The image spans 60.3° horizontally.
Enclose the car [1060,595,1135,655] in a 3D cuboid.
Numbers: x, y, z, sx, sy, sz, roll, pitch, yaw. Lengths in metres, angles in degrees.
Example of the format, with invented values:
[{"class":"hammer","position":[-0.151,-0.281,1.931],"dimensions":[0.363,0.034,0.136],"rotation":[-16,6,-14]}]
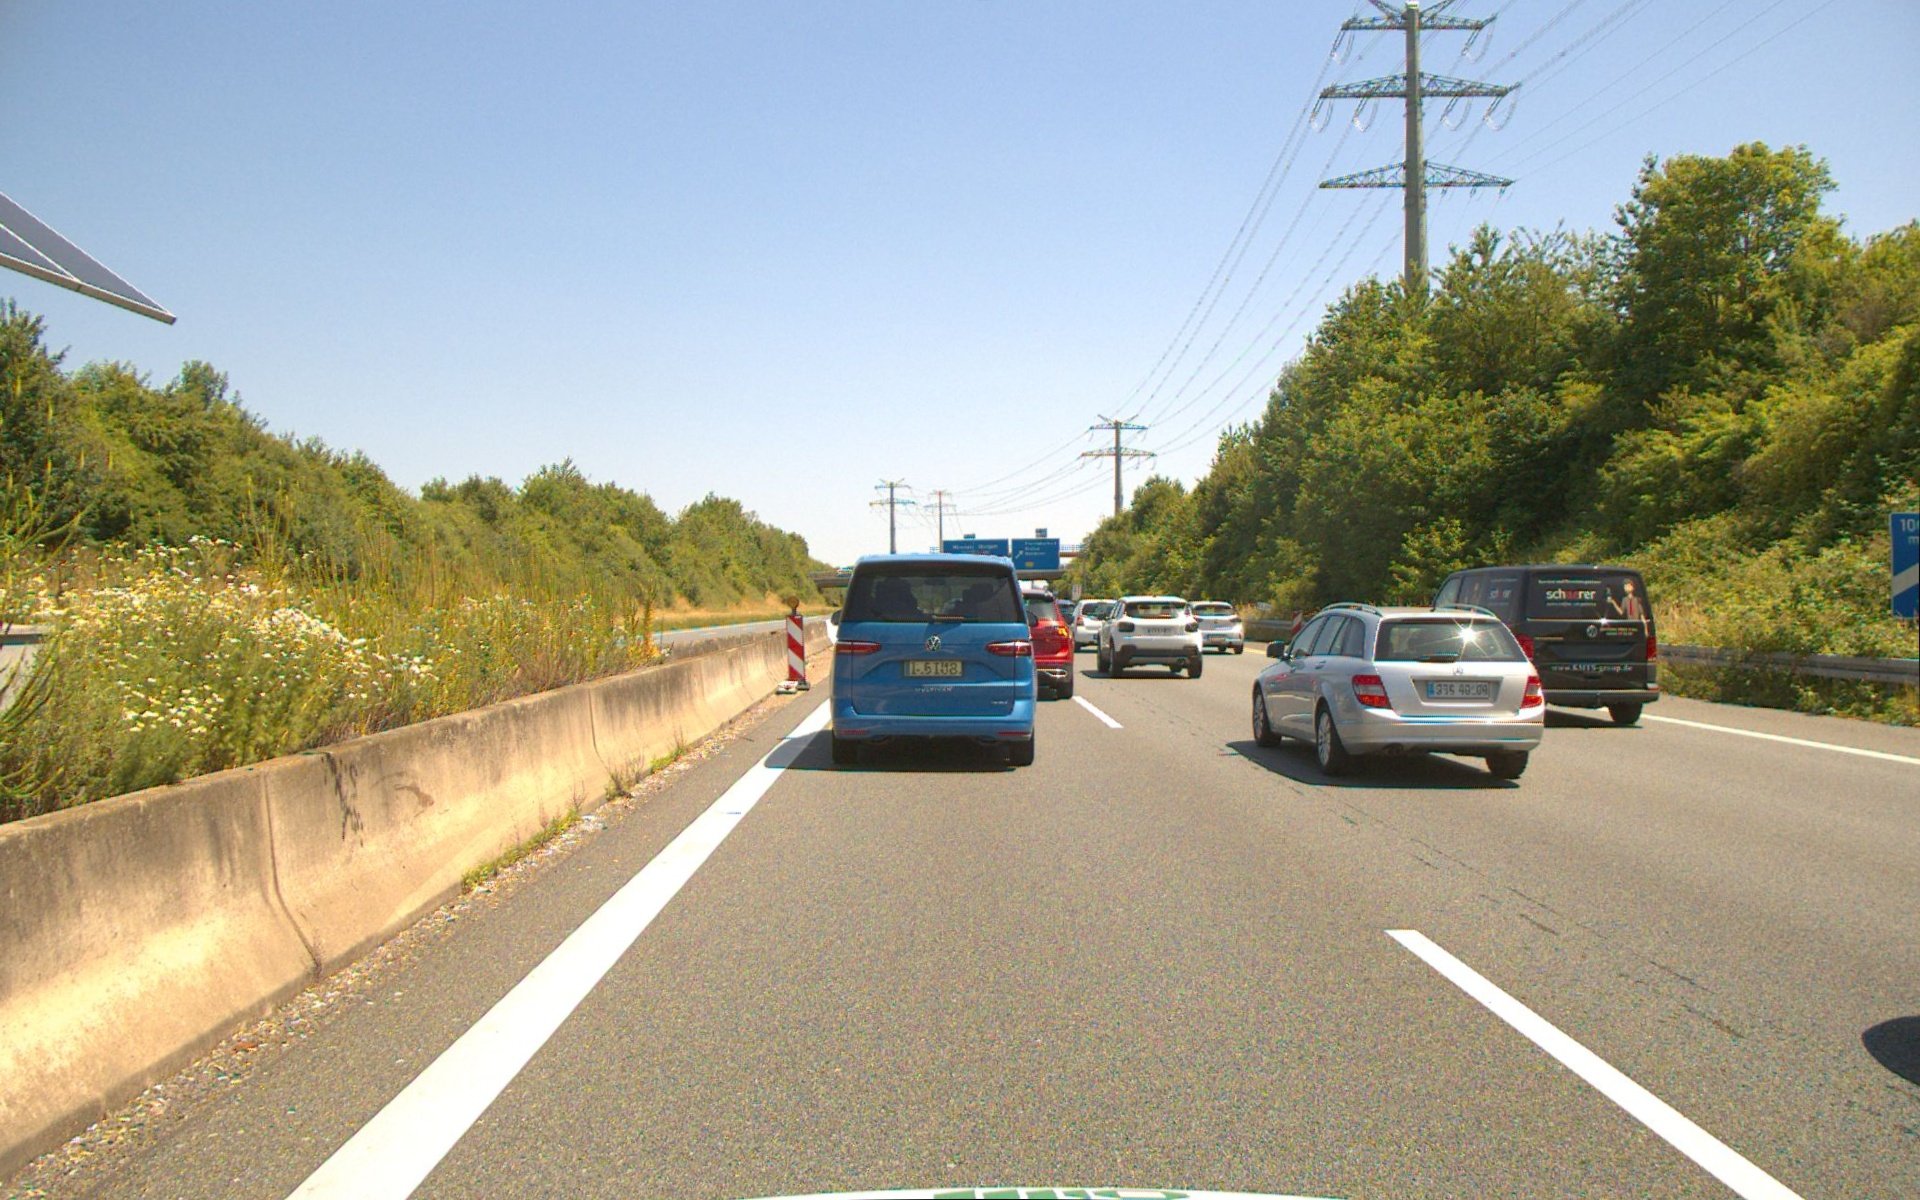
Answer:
[{"class":"car","position":[3.929,0.707,47.863],"dimensions":[1.761,1.622,4.226],"rotation":[1,0,-1]}]

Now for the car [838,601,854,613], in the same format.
[{"class":"car","position":[-16.415,0.982,238.455],"dimensions":[1.953,1.678,4.629],"rotation":[-3,0,-1]}]

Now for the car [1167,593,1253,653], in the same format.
[{"class":"car","position":[7.130,0.630,47.465],"dimensions":[1.761,1.622,4.226],"rotation":[1,0,-1]}]

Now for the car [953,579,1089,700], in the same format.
[{"class":"car","position":[0.871,0.576,26.007],"dimensions":[1.836,1.700,4.358],"rotation":[1,0,-2]}]

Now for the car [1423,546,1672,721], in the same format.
[{"class":"car","position":[7.579,0.409,21.774],"dimensions":[1.761,2.049,4.226],"rotation":[1,0,0]}]

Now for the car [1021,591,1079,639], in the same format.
[{"class":"car","position":[3.188,0.507,58.996],"dimensions":[1.761,1.622,4.226],"rotation":[1,0,-1]}]

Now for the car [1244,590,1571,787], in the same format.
[{"class":"car","position":[3.945,0.711,15.362],"dimensions":[1.735,1.544,4.358],"rotation":[1,0,-2]}]

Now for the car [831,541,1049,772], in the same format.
[{"class":"car","position":[-0.226,0.488,16.338],"dimensions":[1.836,1.945,4.358],"rotation":[1,0,-2]}]

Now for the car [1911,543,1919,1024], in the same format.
[{"class":"car","position":[4.267,0.649,3.664],"dimensions":[1.666,1.684,4.428],"rotation":[1,0,-2]}]

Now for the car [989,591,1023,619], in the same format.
[{"class":"car","position":[2.675,0.289,97.144],"dimensions":[1.761,1.622,4.226],"rotation":[1,0,-1]}]

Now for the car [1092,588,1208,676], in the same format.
[{"class":"car","position":[3.719,0.602,32.999],"dimensions":[1.761,1.622,4.226],"rotation":[1,0,-1]}]

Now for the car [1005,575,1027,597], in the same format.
[{"class":"car","position":[6.561,-1.621,193.264],"dimensions":[2.329,2.470,4.226],"rotation":[1,0,-1]}]

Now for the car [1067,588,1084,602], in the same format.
[{"class":"car","position":[15.119,-0.665,217.188],"dimensions":[1.836,1.700,4.358],"rotation":[1,0,-2]}]
